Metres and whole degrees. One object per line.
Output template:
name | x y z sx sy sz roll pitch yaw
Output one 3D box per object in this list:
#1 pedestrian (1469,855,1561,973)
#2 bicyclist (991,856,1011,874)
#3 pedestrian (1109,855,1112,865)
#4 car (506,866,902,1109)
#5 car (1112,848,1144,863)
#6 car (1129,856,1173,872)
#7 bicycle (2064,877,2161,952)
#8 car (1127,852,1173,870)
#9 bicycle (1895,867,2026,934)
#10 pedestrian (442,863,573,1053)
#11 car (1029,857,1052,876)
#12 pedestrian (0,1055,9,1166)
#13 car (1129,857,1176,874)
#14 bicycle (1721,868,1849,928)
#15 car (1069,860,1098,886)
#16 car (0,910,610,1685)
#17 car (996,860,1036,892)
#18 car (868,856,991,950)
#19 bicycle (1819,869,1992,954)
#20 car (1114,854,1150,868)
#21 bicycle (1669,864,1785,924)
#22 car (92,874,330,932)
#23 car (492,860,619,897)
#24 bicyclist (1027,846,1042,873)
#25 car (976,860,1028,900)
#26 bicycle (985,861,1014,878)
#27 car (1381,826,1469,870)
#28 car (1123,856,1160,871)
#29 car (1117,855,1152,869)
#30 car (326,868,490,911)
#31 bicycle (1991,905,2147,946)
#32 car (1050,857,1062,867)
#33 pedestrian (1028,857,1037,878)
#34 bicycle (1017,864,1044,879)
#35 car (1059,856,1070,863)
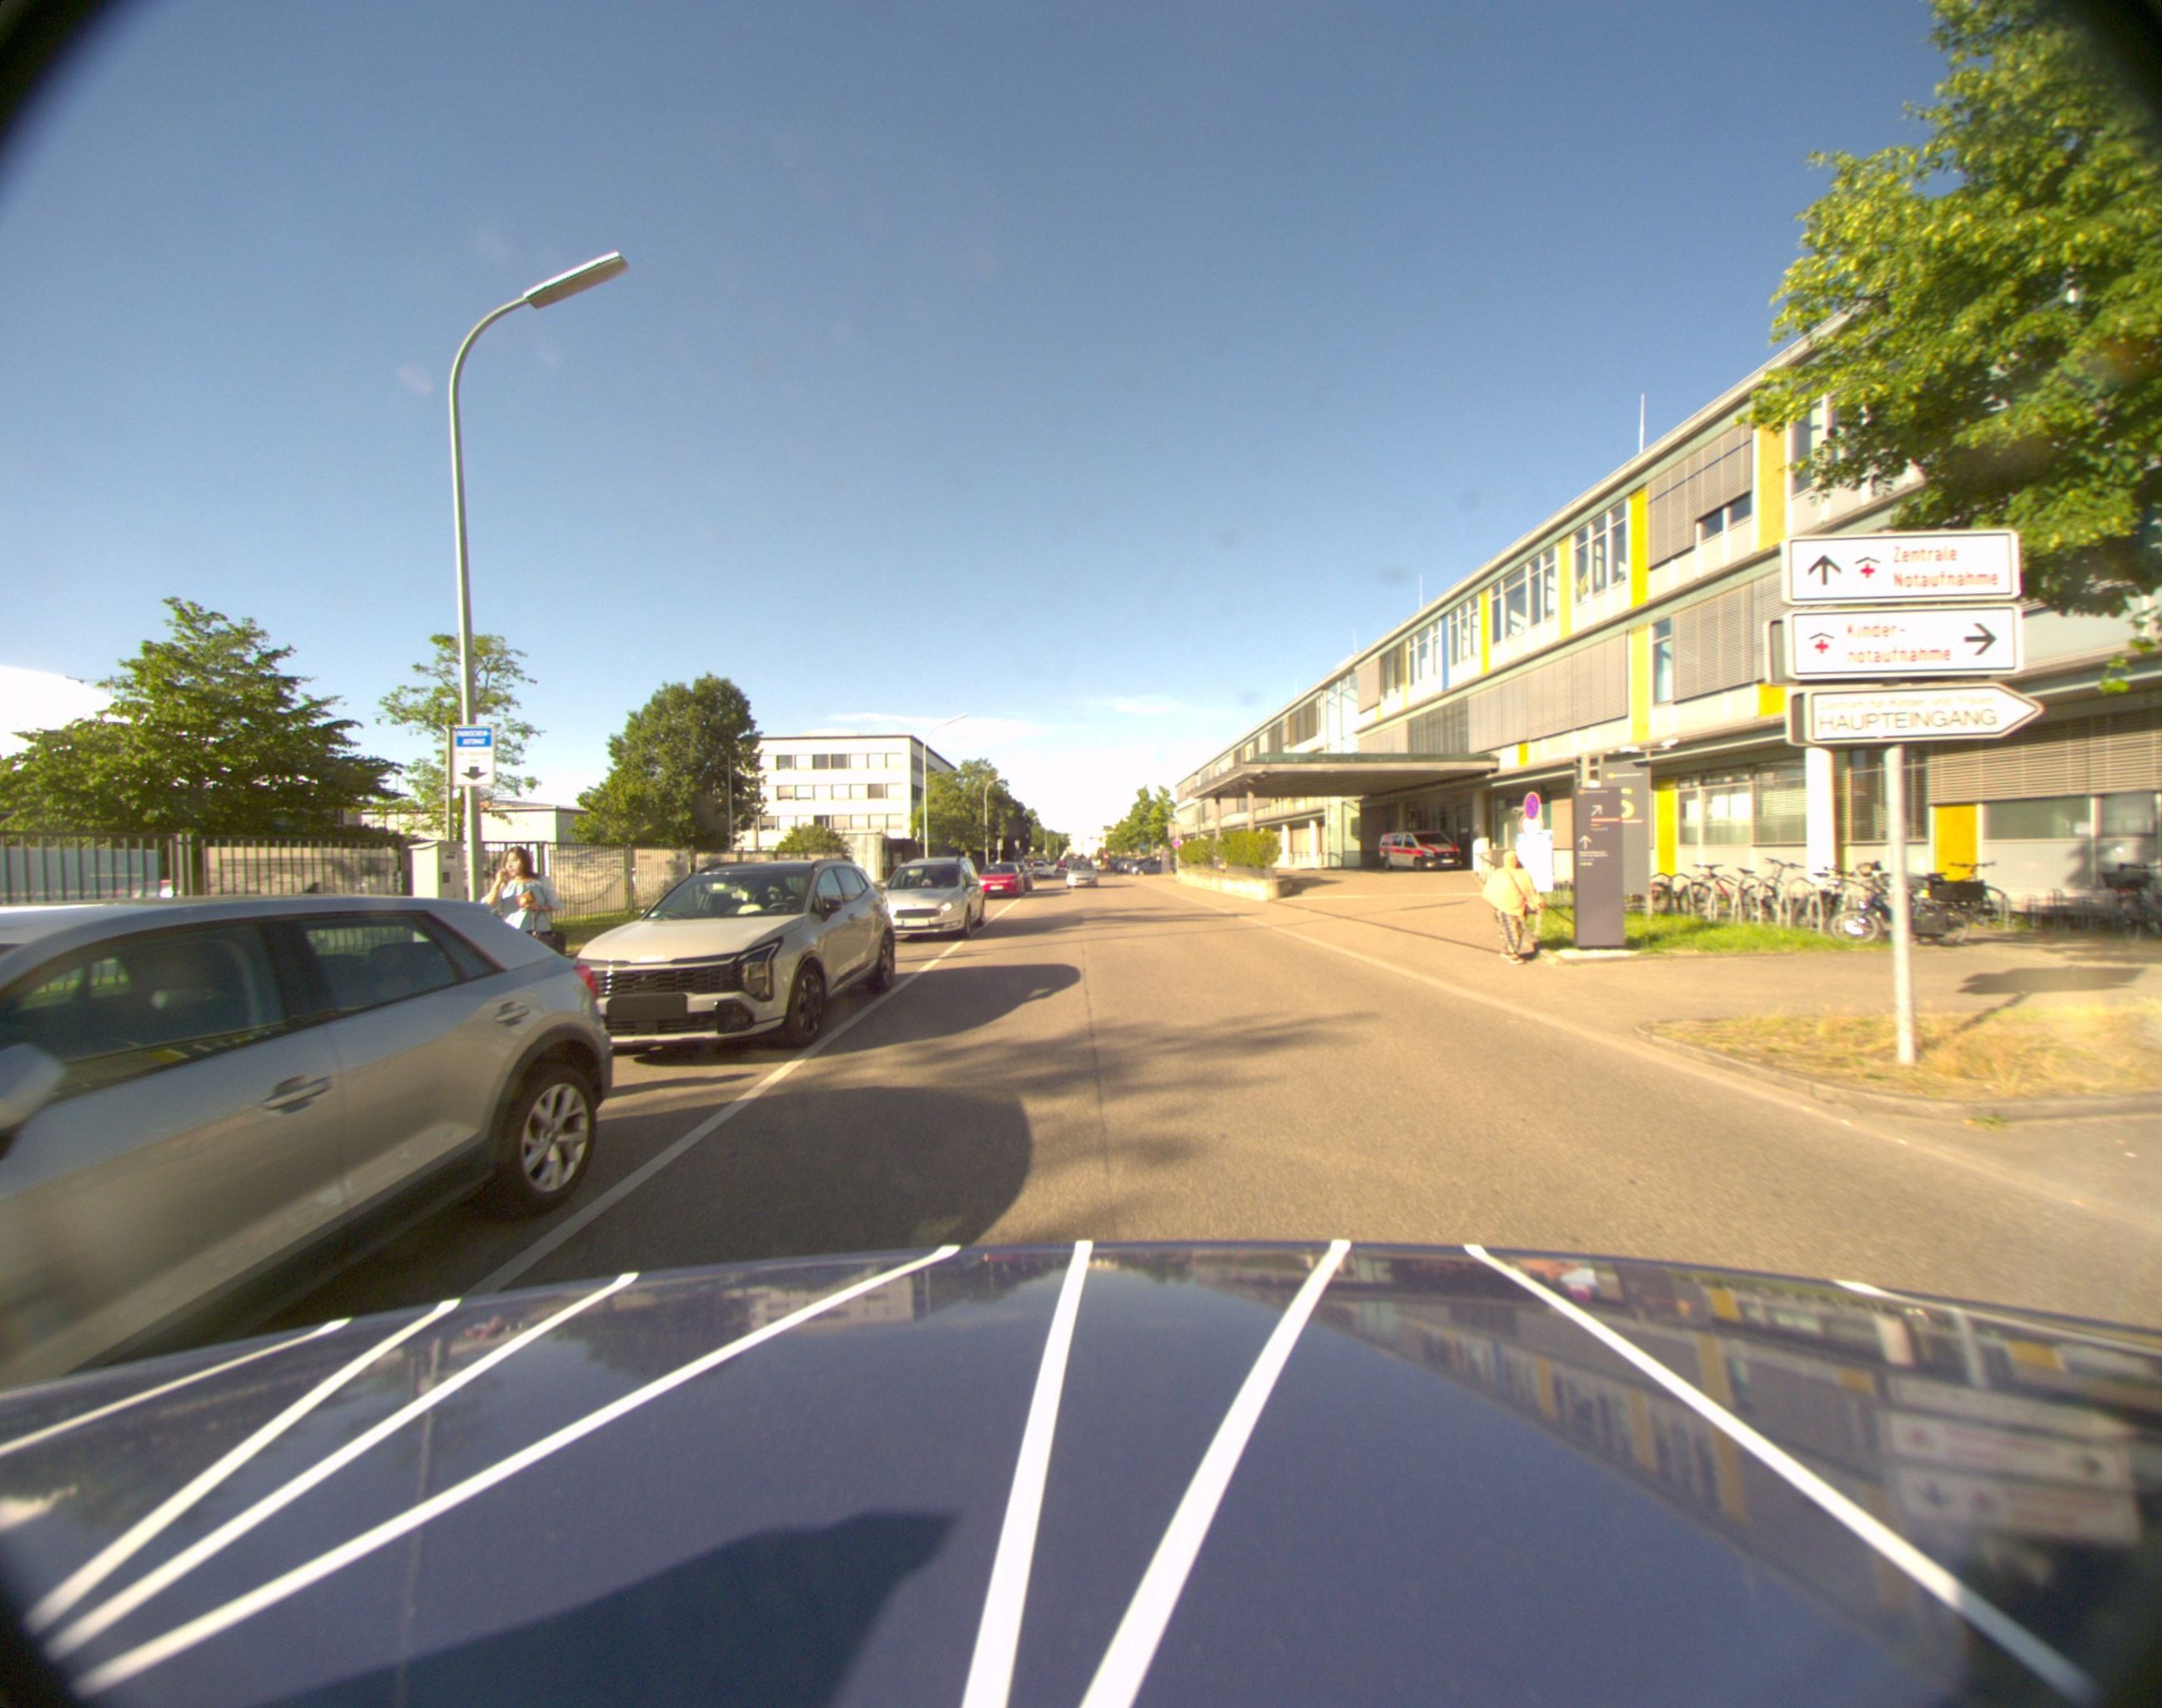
pedestrian | 5.995 0.801 10.539 0.774 1.540 0.780 -3 1 0
bicyclist | -5.602 0.778 53.206 1.098 1.261 0.863 -1 0 15
pedestrian | 4.821 0.992 123.747 0.369 1.712 0.479 -3 5 -4
car | -3.197 0.983 7.587 1.705 1.597 4.352 -3 0 0
car | 6.726 0.211 107.977 4.359 1.852 2.000 -3 0 1
car | 6.683 0.976 72.909 3.998 1.429 1.730 -2 0 -3
bicycle | 14.959 0.833 10.644 1.719 0.988 0.536 -1 0 -1
car | 6.812 0.716 75.364 4.232 1.642 1.960 -1 0 -3
bicycle | 15.421 0.804 13.339 1.719 1.117 0.536 -1 0 -1
pedestrian | -5.154 0.902 6.862 0.540 1.602 0.683 -3 1 5
car | -3.505 1.078 66.545 1.668 1.505 4.114 -3 0 0
pedestrian | -5.767 0.744 3.595 0.521 1.699 0.523 -3 1 3
car | 6.590 1.066 70.322 4.142 1.458 1.753 -2 0 -2
bicycle | 11.897 0.739 12.865 1.719 0.968 0.536 -1 0 -2
car | 0.161 1.048 43.248 1.551 1.389 3.454 0 0 1
car | -3.182 1.057 1.831 1.705 1.479 3.979 -3 0 -3
car | -3.304 1.090 39.048 1.705 1.478 4.214 -3 0 -1
car | -3.182 0.951 16.914 1.814 1.712 4.703 -3 0 -1
bicycle | 11.320 0.781 10.465 1.706 1.115 0.536 -1 0 5
car | 6.618 0.888 98.134 4.361 1.618 1.999 -3 1 -4
bicycle | 11.906 0.727 14.022 1.719 1.049 0.536 -1 0 -2
car | -23.519 1.286 20.674 4.154 1.245 1.828 -3 0 -3
car | -25.384 1.170 36.861 4.642 1.658 1.999 -1 0 -6
bicyclist | -3.467 0.404 56.347 1.052 2.001 0.959 1 -1 -3
car | -3.363 1.066 33.242 1.814 1.501 4.721 -3 0 -1
bicycle | -5.682 1.058 53.082 1.899 1.136 0.668 0 0 15
car | 16.000 -0.266 35.638 1.924 1.880 4.711 -1 0 -1
car | 6.793 1.040 85.467 3.992 1.480 1.823 -3 1 -2
car | 6.503 0.938 92.541 4.102 1.414 1.823 -3 1 -2
car | -24.417 1.263 27.682 4.154 1.245 1.878 -3 0 -3
bicycle | 14.913 1.072 11.488 1.719 0.548 0.536 -1 0 -1
car | -3.953 1.204 120.386 1.824 1.435 4.294 -3 0 0
pedestrian | -4.043 1.125 63.088 0.693 1.718 0.775 0 0 -1
bicycle | -3.738 1.310 56.309 1.884 1.001 0.702 3 -7 -2
car | -3.279 1.121 152.356 1.999 1.382 3.998 0 0 -5
